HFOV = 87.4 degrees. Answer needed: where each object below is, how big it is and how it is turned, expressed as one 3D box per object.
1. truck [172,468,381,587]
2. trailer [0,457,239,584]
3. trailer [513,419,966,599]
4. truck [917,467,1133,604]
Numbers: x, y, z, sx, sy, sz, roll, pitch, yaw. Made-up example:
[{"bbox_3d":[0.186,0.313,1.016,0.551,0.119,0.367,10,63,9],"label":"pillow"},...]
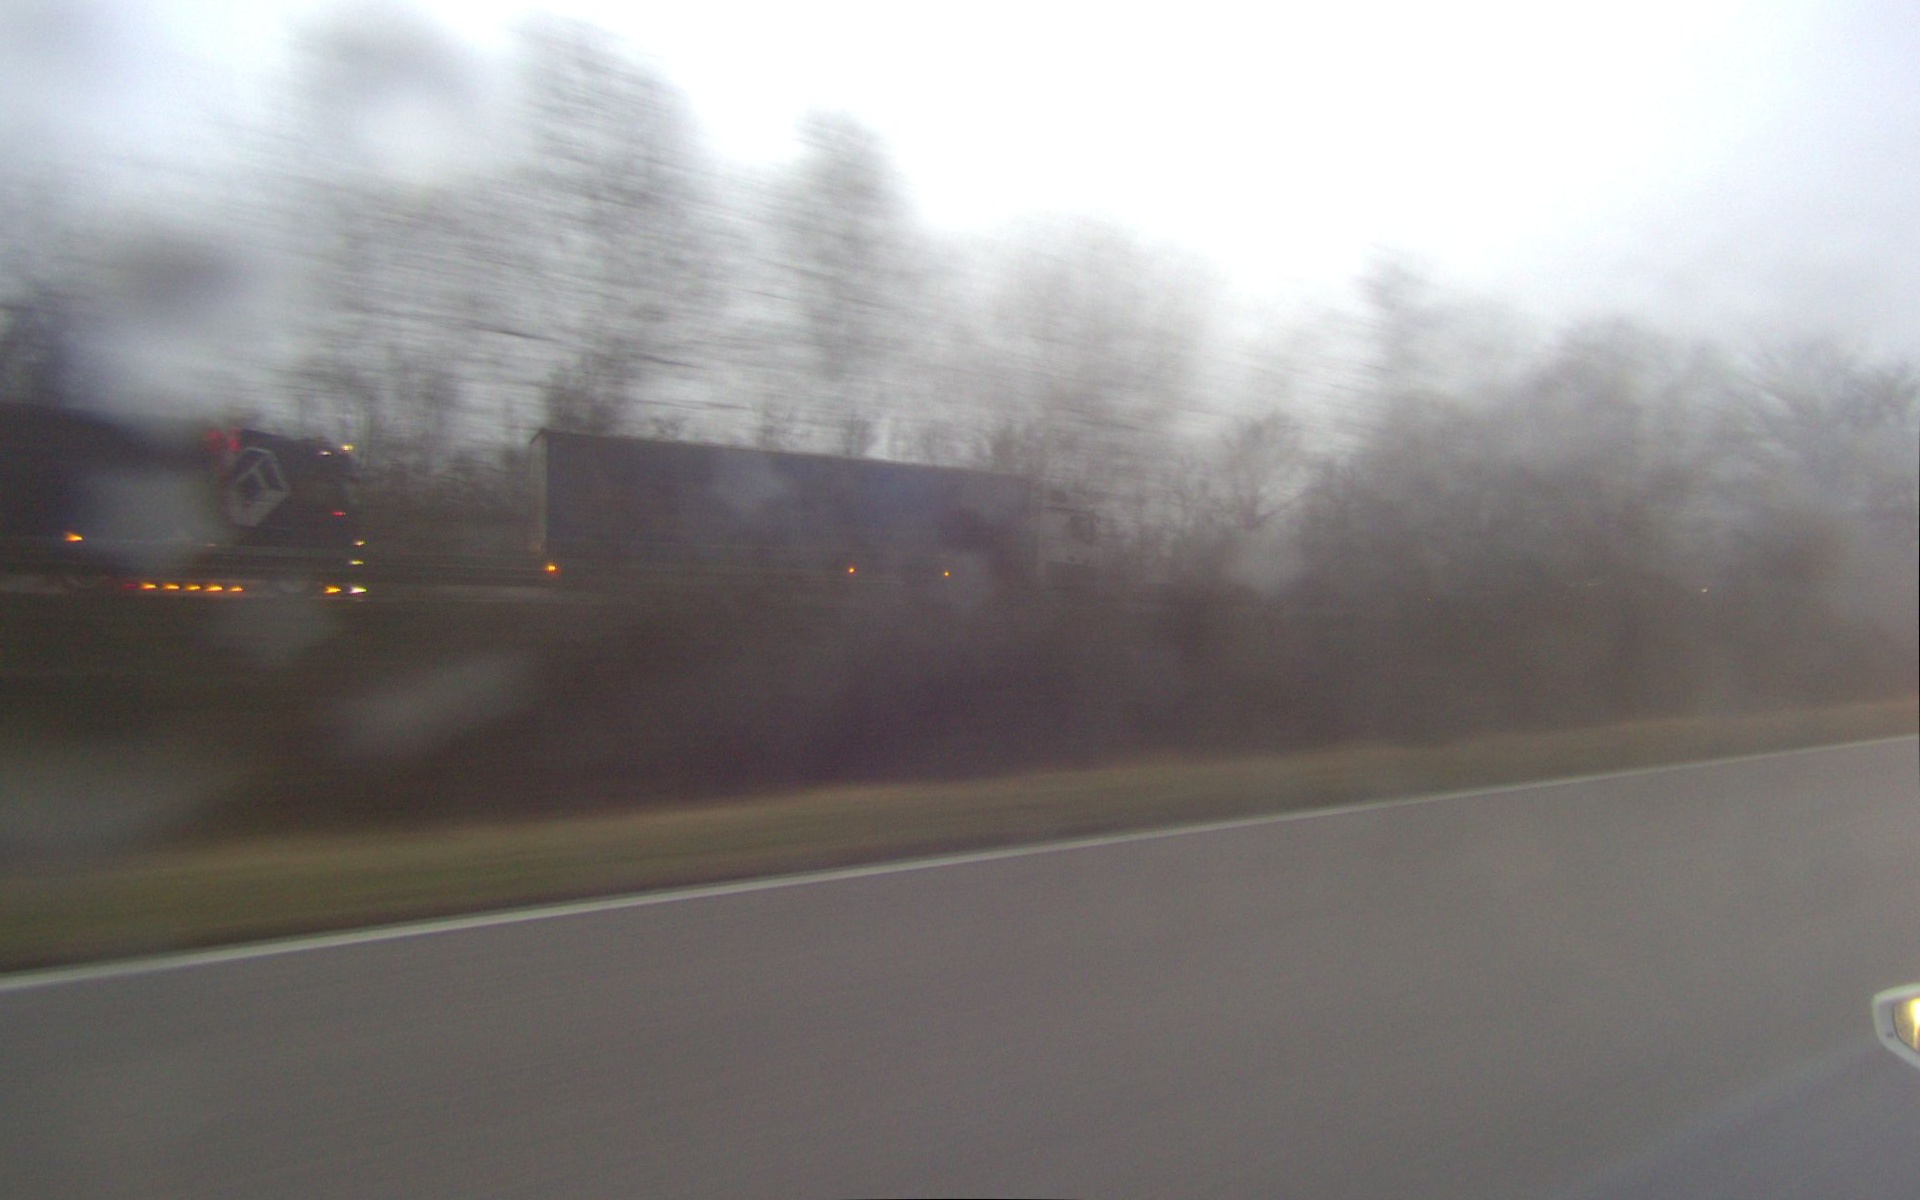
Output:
[{"bbox_3d":[-16.443,-1.644,24.482,3.953,2.468,2.518,1,-1,-30],"label":"truck"},{"bbox_3d":[-22.263,-1.783,21.019,11.367,2.456,2.497,2,-1,-30],"label":"trailer"},{"bbox_3d":[-5.418,-2.017,26.387,11.256,3.682,2.983,2,-1,-31],"label":"trailer"},{"bbox_3d":[2.029,-1.795,30.865,5.997,3.680,2.977,1,-1,-31],"label":"truck"}]
